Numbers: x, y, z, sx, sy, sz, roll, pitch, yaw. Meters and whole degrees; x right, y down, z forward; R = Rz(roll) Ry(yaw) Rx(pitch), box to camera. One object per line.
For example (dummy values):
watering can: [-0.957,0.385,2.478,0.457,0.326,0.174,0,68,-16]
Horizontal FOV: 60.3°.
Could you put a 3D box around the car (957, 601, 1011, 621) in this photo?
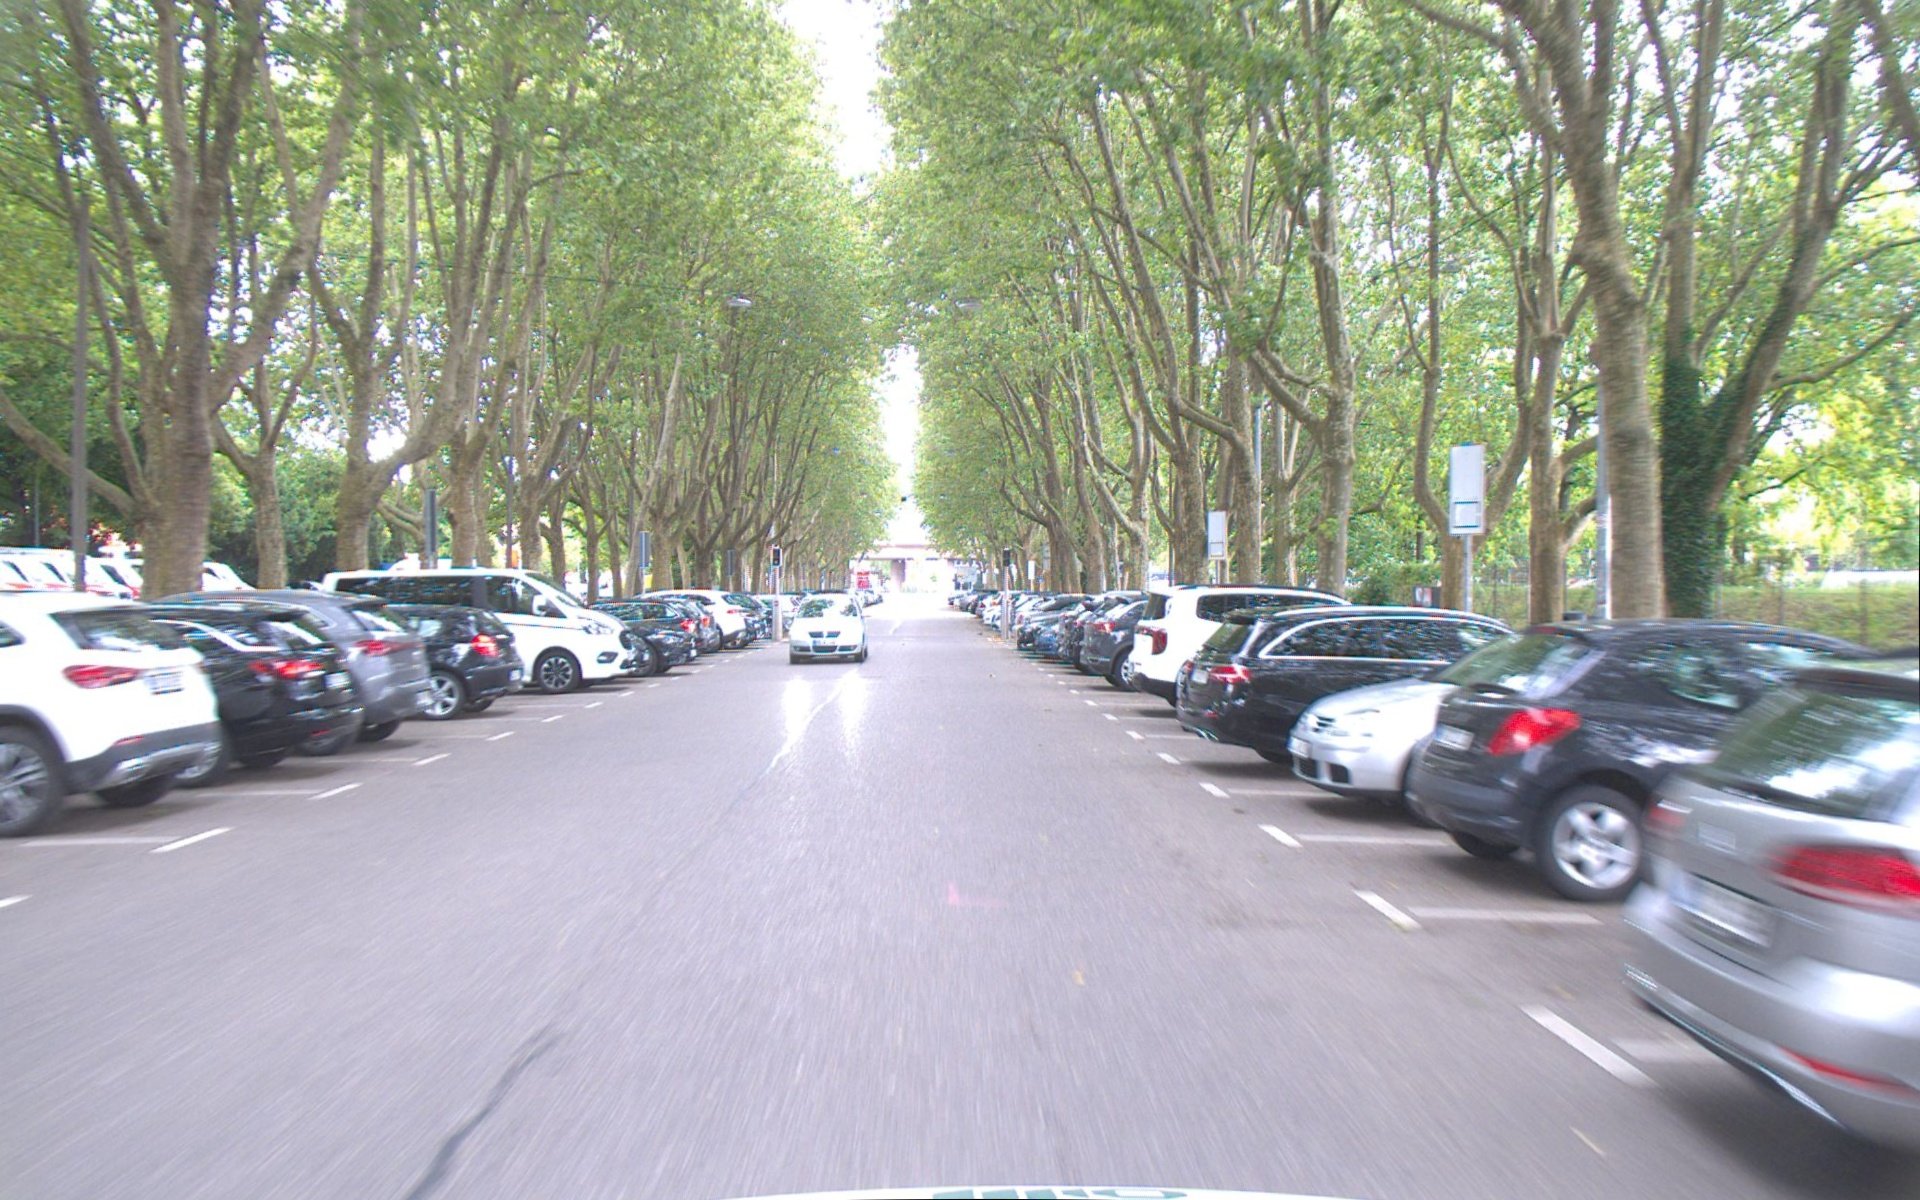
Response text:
car: [1.891,0.839,128.699,4.088,1.467,1.732,1,0,3]

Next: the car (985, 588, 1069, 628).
car: [3.004,0.352,74.564,3.574,1.696,1.518,1,0,-5]

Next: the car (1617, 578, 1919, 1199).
car: [4.131,0.792,4.406,4.035,1.454,1.703,3,0,0]

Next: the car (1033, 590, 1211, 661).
car: [3.587,0.548,37.068,3.750,1.481,1.693,1,0,-3]

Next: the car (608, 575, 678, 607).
car: [-24.203,-0.685,126.352,4.976,2.271,1.535,1,0,-3]

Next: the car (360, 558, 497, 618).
car: [-24.667,-0.557,76.938,5.668,2.642,2.000,1,0,-1]

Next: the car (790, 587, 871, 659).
car: [-2.849,0.473,36.906,1.655,1.497,3.837,-1,0,-3]

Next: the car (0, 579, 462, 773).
car: [-7.504,0.722,16.817,4.254,1.697,1.999,-2,0,-3]

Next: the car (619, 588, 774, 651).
car: [-7.339,0.525,46.352,3.984,1.636,1.799,-1,0,1]

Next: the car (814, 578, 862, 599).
car: [-10.201,-0.957,138.139,3.734,1.630,1.787,-2,0,4]

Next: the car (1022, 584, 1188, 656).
car: [3.636,0.483,41.914,4.030,1.699,1.694,1,0,-1]

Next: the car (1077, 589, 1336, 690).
car: [3.952,0.623,26.919,3.907,1.512,1.693,1,0,-3]

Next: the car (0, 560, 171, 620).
car: [-35.397,-0.404,66.970,5.880,2.279,1.999,1,0,-2]

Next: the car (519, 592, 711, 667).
car: [-7.526,0.632,36.366,3.917,1.497,1.536,-1,0,-4]

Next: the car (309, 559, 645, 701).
car: [-7.654,0.461,26.577,4.795,2.054,1.919,-2,0,-2]

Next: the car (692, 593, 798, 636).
car: [-7.954,0.535,61.403,3.752,1.455,1.693,-1,0,-4]

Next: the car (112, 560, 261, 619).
car: [-35.683,-0.485,76.402,5.880,2.571,1.999,1,0,-2]

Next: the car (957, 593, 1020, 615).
car: [2.106,0.265,121.443,4.478,1.512,2.001,1,0,3]

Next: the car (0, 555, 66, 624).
car: [-34.239,-0.420,56.828,5.880,2.292,1.999,1,0,-2]

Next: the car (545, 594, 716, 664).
car: [-7.773,0.662,39.312,3.681,1.500,1.863,-2,0,-3]

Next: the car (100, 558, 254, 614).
car: [-35.115,-0.625,74.240,5.880,2.345,1.999,1,0,-2]

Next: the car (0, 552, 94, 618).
car: [-34.664,-0.580,59.503,5.880,2.292,1.999,1,0,-2]

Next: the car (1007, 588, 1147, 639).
car: [3.686,0.419,52.601,4.278,1.495,1.623,1,0,-2]

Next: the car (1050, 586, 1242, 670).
car: [3.858,0.569,34.719,3.750,1.635,1.693,1,0,-3]

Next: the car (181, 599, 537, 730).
car: [-7.604,0.790,21.214,3.908,1.438,1.682,-2,0,-4]

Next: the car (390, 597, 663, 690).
car: [-7.644,0.750,29.471,4.359,1.478,1.773,-2,0,-2]

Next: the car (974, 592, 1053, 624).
car: [2.546,0.389,79.736,3.574,1.448,1.983,1,0,-5]

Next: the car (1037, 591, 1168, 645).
car: [4.237,0.533,49.536,3.699,1.495,1.666,1,0,-2]

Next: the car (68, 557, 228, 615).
car: [-35.203,-0.590,71.822,5.880,2.370,1.999,1,0,-2]

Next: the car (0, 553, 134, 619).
car: [-34.477,-0.536,62.064,5.880,2.358,1.999,1,0,-2]

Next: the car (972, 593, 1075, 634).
car: [2.644,0.545,69.385,4.085,1.624,1.853,1,0,-5]

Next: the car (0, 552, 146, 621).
car: [-35.309,-0.542,64.660,5.880,2.571,1.999,1,0,-2]

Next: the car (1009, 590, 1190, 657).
car: [3.319,0.551,39.709,4.127,1.476,1.610,1,0,-3]

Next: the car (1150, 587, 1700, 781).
car: [4.049,0.712,14.823,4.412,1.552,1.702,1,0,-3]

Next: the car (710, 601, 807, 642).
car: [-8.083,0.849,66.454,3.752,1.523,1.693,-1,0,-4]

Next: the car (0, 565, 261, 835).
car: [-7.448,0.701,11.514,4.254,1.697,1.999,-2,0,-3]

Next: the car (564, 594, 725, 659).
car: [-7.847,0.650,41.416,3.752,1.497,1.693,-1,0,-4]

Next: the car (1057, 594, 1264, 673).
car: [3.841,0.637,32.075,3.750,1.413,1.693,1,0,-3]

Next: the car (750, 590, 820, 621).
car: [-9.652,0.310,91.431,3.752,1.582,1.693,-1,0,-4]

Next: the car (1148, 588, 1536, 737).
car: [4.394,0.699,19.375,4.102,1.584,1.699,1,0,-3]

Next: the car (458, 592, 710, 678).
car: [-7.150,0.652,31.731,4.355,1.478,1.775,-2,0,3]

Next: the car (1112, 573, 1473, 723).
car: [4.262,0.604,21.640,4.297,1.786,1.800,1,0,-3]

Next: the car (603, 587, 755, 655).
car: [-7.396,0.533,43.813,3.752,1.656,1.951,-1,0,-4]

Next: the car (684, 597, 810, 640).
car: [-7.550,0.638,58.950,4.314,1.388,1.693,-1,0,-4]

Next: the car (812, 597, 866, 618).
car: [-8.875,0.545,121.480,3.734,1.377,1.663,-2,0,4]

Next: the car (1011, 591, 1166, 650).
car: [3.436,0.546,44.752,4.030,1.495,1.694,1,0,-2]

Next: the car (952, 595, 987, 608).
car: [1.174,0.206,203.113,4.287,1.549,1.731,1,0,-1]

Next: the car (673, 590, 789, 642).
car: [-7.755,0.518,56.260,3.752,1.636,1.693,-1,0,-4]

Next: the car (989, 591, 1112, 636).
car: [3.221,0.471,59.347,4.213,1.495,1.622,1,0,-5]

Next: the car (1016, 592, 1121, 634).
car: [4.061,0.471,62.173,3.702,1.495,1.622,1,0,-5]

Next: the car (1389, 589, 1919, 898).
car: [4.705,0.763,9.503,3.964,1.552,1.814,1,0,-3]

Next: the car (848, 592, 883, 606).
car: [-10.481,-0.140,183.503,3.734,1.542,1.686,1,0,2]

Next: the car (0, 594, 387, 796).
car: [-7.174,0.782,14.108,3.908,1.501,1.841,-2,0,-4]
